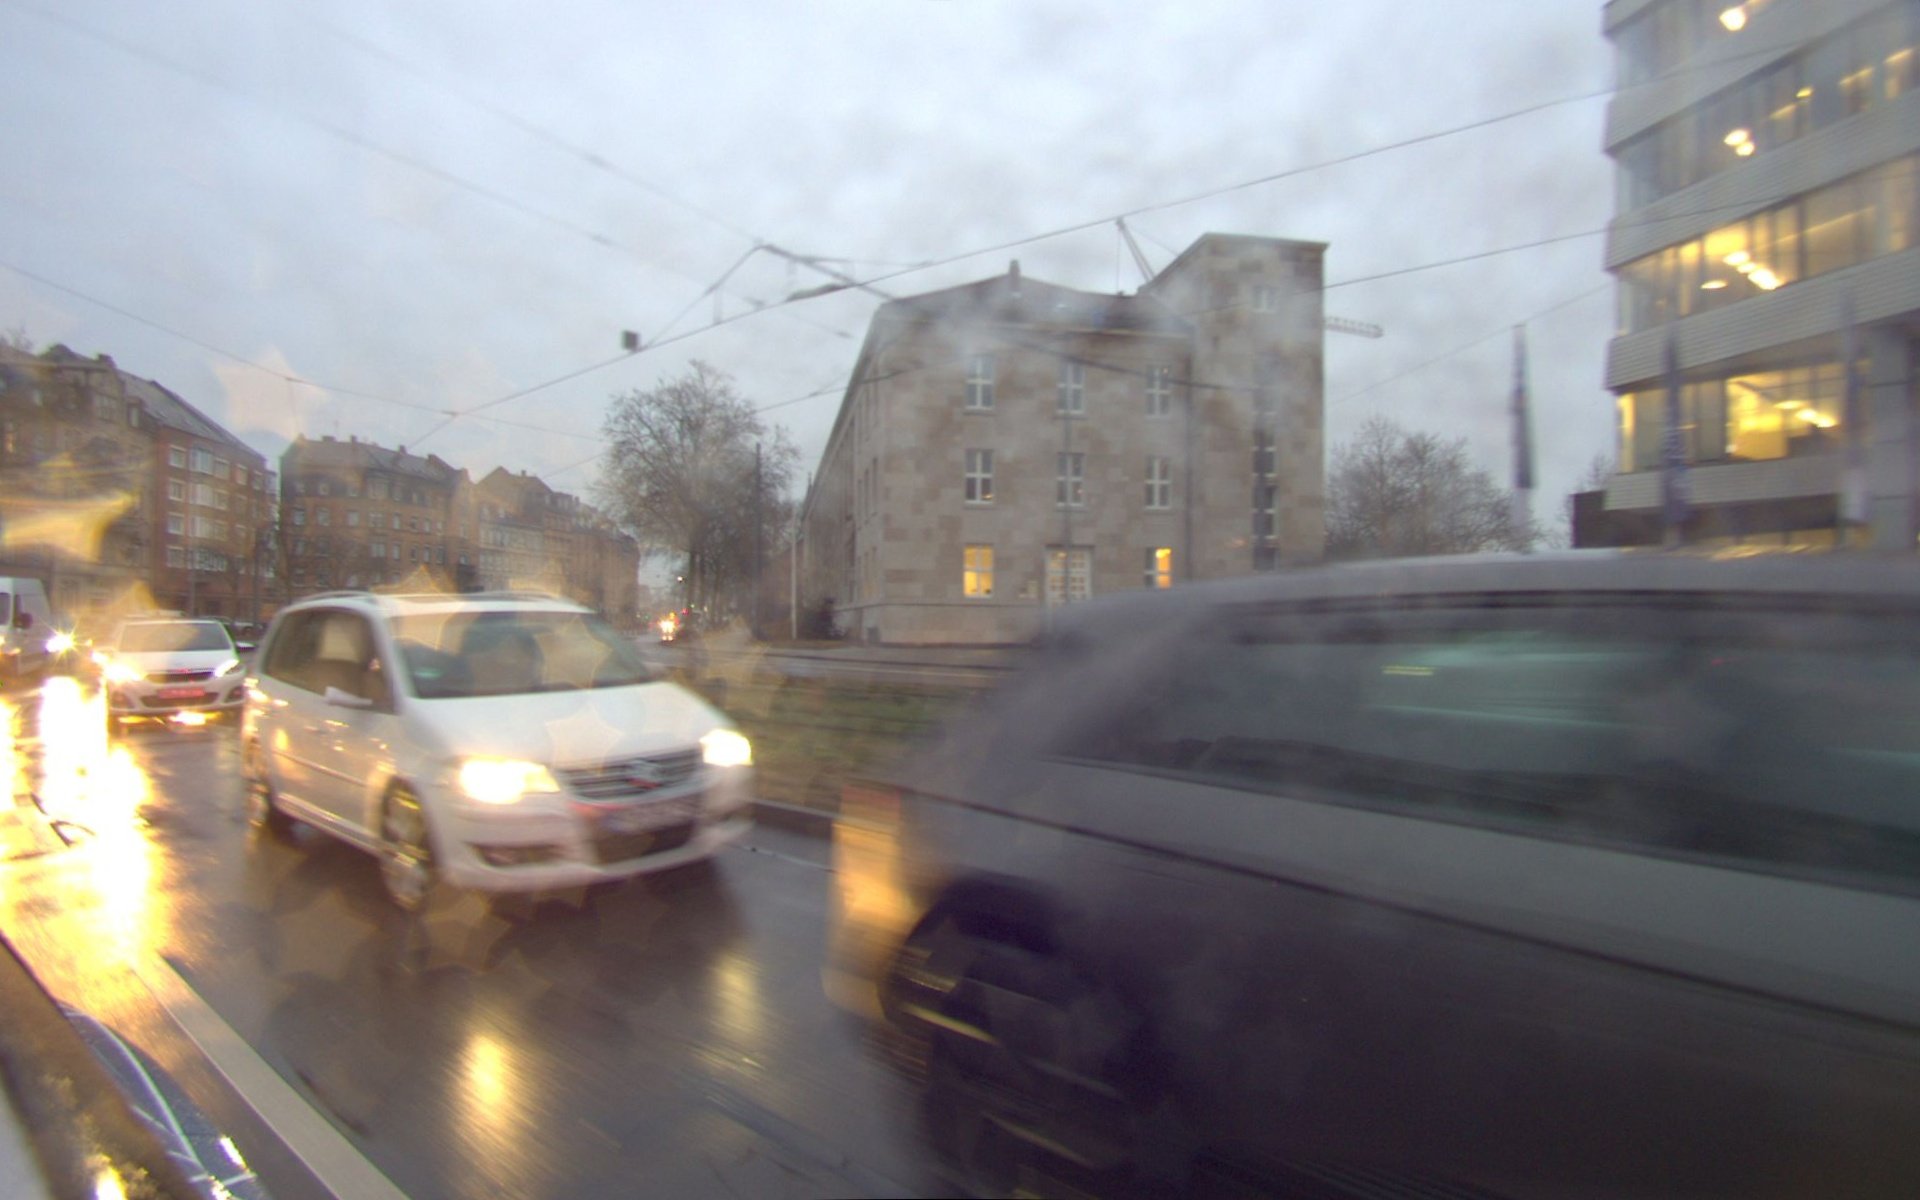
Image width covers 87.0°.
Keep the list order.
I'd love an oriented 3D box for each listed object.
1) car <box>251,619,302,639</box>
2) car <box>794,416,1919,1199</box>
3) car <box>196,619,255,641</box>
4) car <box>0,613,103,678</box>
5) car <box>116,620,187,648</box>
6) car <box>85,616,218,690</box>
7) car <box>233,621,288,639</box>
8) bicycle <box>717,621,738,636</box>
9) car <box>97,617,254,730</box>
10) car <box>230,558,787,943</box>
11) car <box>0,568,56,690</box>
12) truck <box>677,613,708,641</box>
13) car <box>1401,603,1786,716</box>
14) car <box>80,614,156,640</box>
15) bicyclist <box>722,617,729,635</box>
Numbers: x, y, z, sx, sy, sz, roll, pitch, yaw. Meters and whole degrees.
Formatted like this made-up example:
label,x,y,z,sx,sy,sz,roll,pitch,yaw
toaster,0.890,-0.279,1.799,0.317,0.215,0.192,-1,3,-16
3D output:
label,x,y,z,sx,sy,sz,roll,pitch,yaw
car,-51.784,2.193,76.774,3.133,1.494,1.386,1,-2,-32
car,1.809,0.578,1.913,4.358,1.582,1.802,-1,-2,40
car,-49.661,2.027,68.504,3.133,1.424,1.386,1,-2,-32
car,-25.976,1.242,28.778,1.846,1.701,4.183,0,-1,-32
car,-47.943,1.992,60.070,3.133,1.636,1.432,1,-2,-34
car,-17.894,1.121,22.597,1.846,1.486,4.182,0,-2,-32
car,-50.055,2.154,72.489,3.133,1.293,1.386,1,-2,-32
bicycle,-27.510,3.353,119.904,2.411,1.719,0.848,0,0,-16
car,-11.579,0.980,14.881,1.664,1.441,3.352,1,-1,-40
car,-3.034,0.677,6.303,4.223,1.611,1.653,-1,-2,43
car,-21.895,0.624,22.347,2.206,2.481,5.684,0,-1,-35
truck,-19.805,1.994,75.002,1.809,2.060,4.008,0,-2,-9
car,8.876,0.775,14.503,4.467,1.397,1.625,-1,-2,36
car,-47.360,1.511,56.981,3.133,1.440,1.432,1,-2,-34
bicyclist,-27.738,3.061,119.850,0.766,2.029,0.832,0,0,-15
